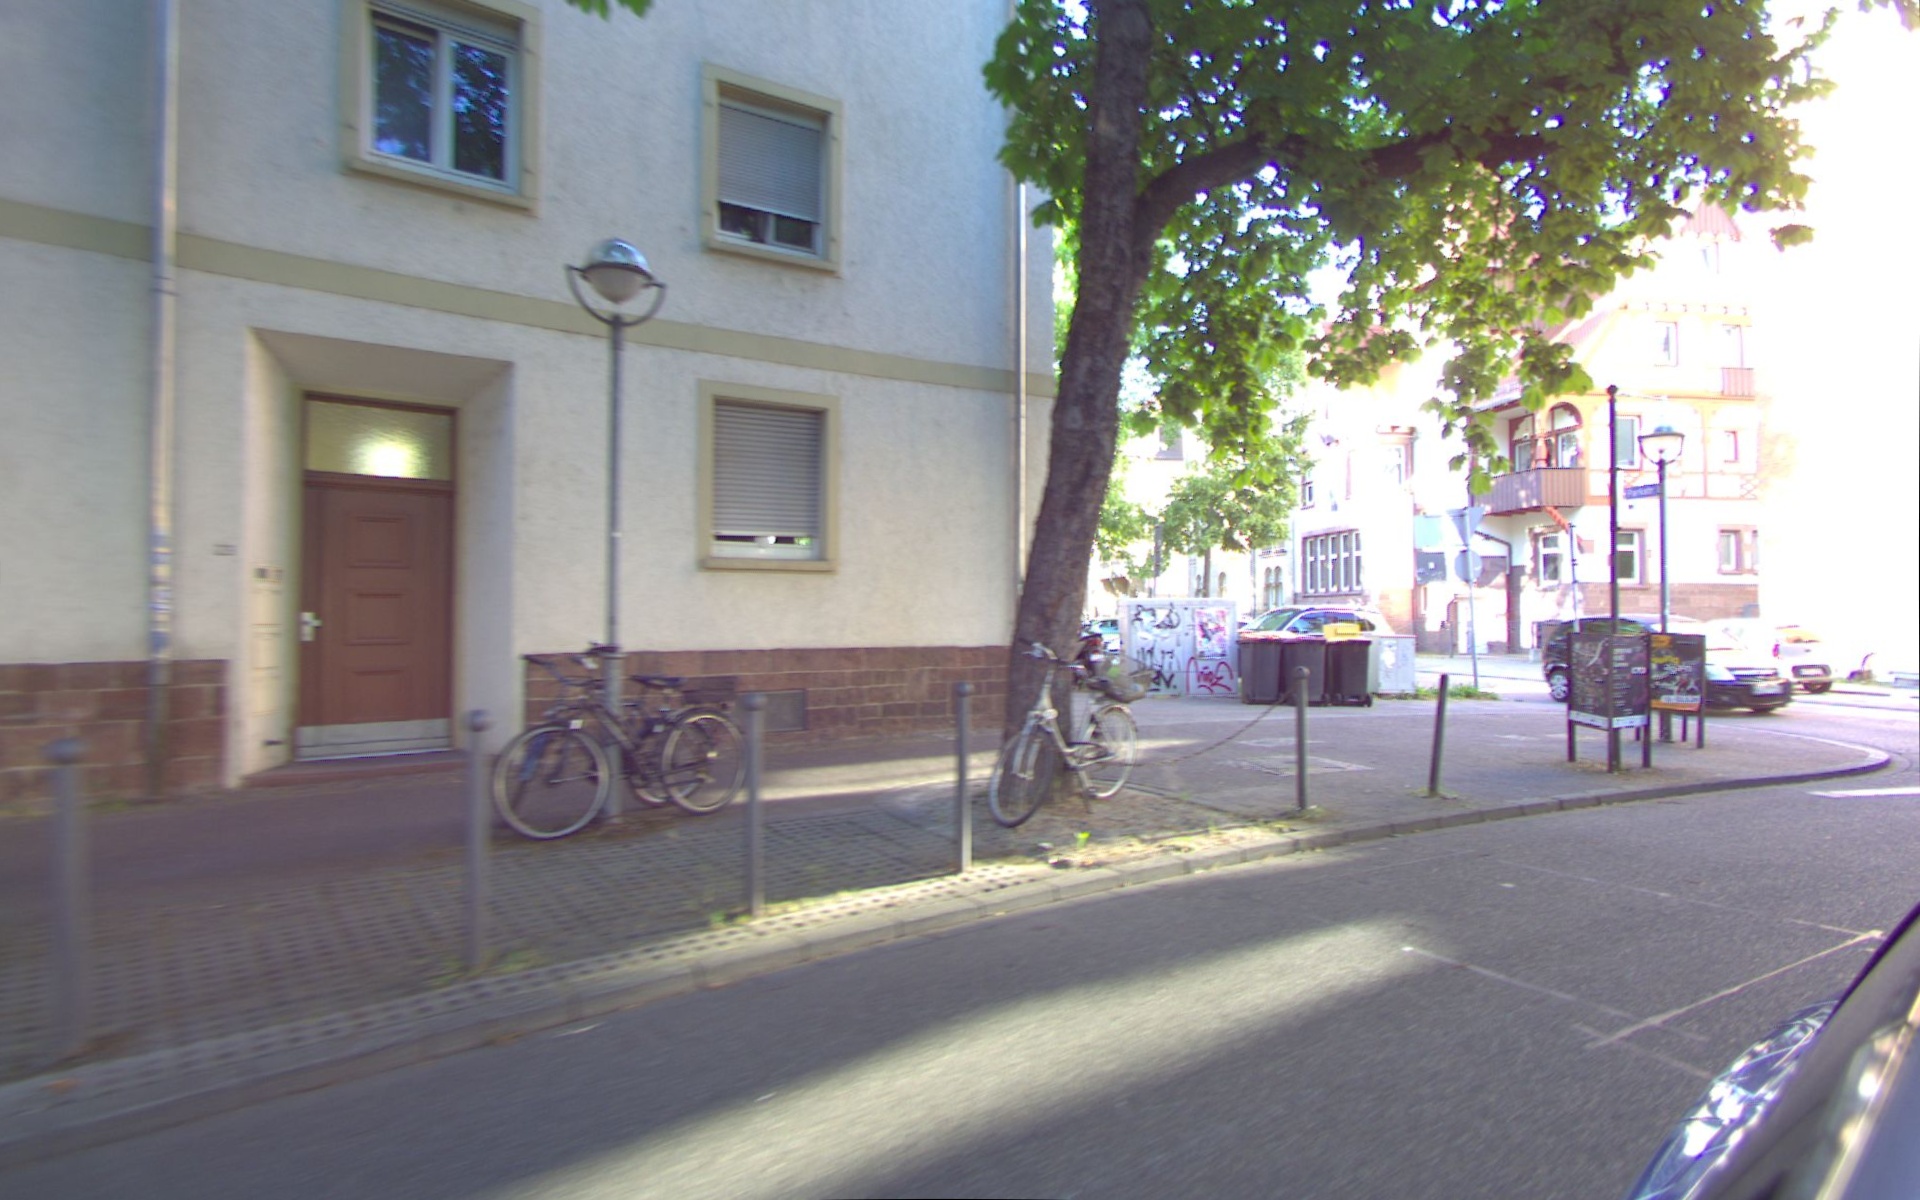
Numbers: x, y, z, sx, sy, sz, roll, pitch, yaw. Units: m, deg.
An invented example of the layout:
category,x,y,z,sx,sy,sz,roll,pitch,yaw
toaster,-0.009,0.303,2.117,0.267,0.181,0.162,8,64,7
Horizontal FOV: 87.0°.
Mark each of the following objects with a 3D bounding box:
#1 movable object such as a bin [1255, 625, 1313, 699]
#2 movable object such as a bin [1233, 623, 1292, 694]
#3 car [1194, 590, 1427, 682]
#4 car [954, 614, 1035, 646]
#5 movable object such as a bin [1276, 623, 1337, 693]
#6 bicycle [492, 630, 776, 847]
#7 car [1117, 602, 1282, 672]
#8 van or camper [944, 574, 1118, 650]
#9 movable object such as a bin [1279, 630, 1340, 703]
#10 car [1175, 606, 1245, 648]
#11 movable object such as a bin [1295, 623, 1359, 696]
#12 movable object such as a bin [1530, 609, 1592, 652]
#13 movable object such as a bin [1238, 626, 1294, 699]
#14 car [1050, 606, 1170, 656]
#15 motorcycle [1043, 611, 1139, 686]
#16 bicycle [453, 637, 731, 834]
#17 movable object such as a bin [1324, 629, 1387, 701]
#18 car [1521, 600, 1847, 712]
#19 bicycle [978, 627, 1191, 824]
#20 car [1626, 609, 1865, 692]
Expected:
category,x,y,z,sx,sy,sz,roll,pitch,yaw
movable object such as a bin,5.257,0.992,16.465,0.621,1.168,0.702,-1,-2,-8
movable object such as a bin,5.141,0.979,17.245,0.725,1.168,0.702,0,-1,-8
car,7.121,0.747,20.727,4.033,1.735,2.027,1,-2,-12
car,1.788,1.569,52.805,3.806,1.491,1.791,2,-1,-13
movable object such as a bin,5.930,0.979,17.337,0.725,1.168,0.717,0,-1,-8
bicycle,-2.039,0.809,6.542,0.437,1.196,1.757,-1,-2,43
car,5.901,0.897,25.224,3.631,1.672,1.705,0,-1,-5
van or camper,2.970,0.514,43.065,6.952,3.117,2.468,0,-1,-11
movable object such as a bin,5.418,1.015,15.720,0.618,1.089,0.706,0,-1,-8
car,12.162,1.292,49.498,1.767,1.931,4.330,-2,-1,-8
movable object such as a bin,6.012,0.958,16.607,0.725,1.168,0.702,0,-1,-8
movable object such as a bin,19.073,0.968,32.155,1.354,1.315,0.968,-1,-1,1
movable object such as a bin,4.746,0.958,15.726,0.580,1.097,0.674,0,-1,-9
car,4.858,1.012,32.974,3.527,1.525,1.679,1,-2,-7
motorcycle,2.384,0.861,18.772,0.957,1.296,2.186,1,-1,-17
bicycle,-2.394,0.831,6.789,0.391,1.123,1.775,-1,-2,42
movable object such as a bin,6.186,1.003,15.865,0.645,1.078,0.695,0,-1,-8
car,12.132,0.886,17.390,1.958,1.613,4.269,-2,-1,-12
bicycle,0.920,0.802,7.125,0.553,1.197,1.762,-1,-2,43
car,16.328,0.993,21.299,1.676,1.504,3.802,-2,-1,-8
